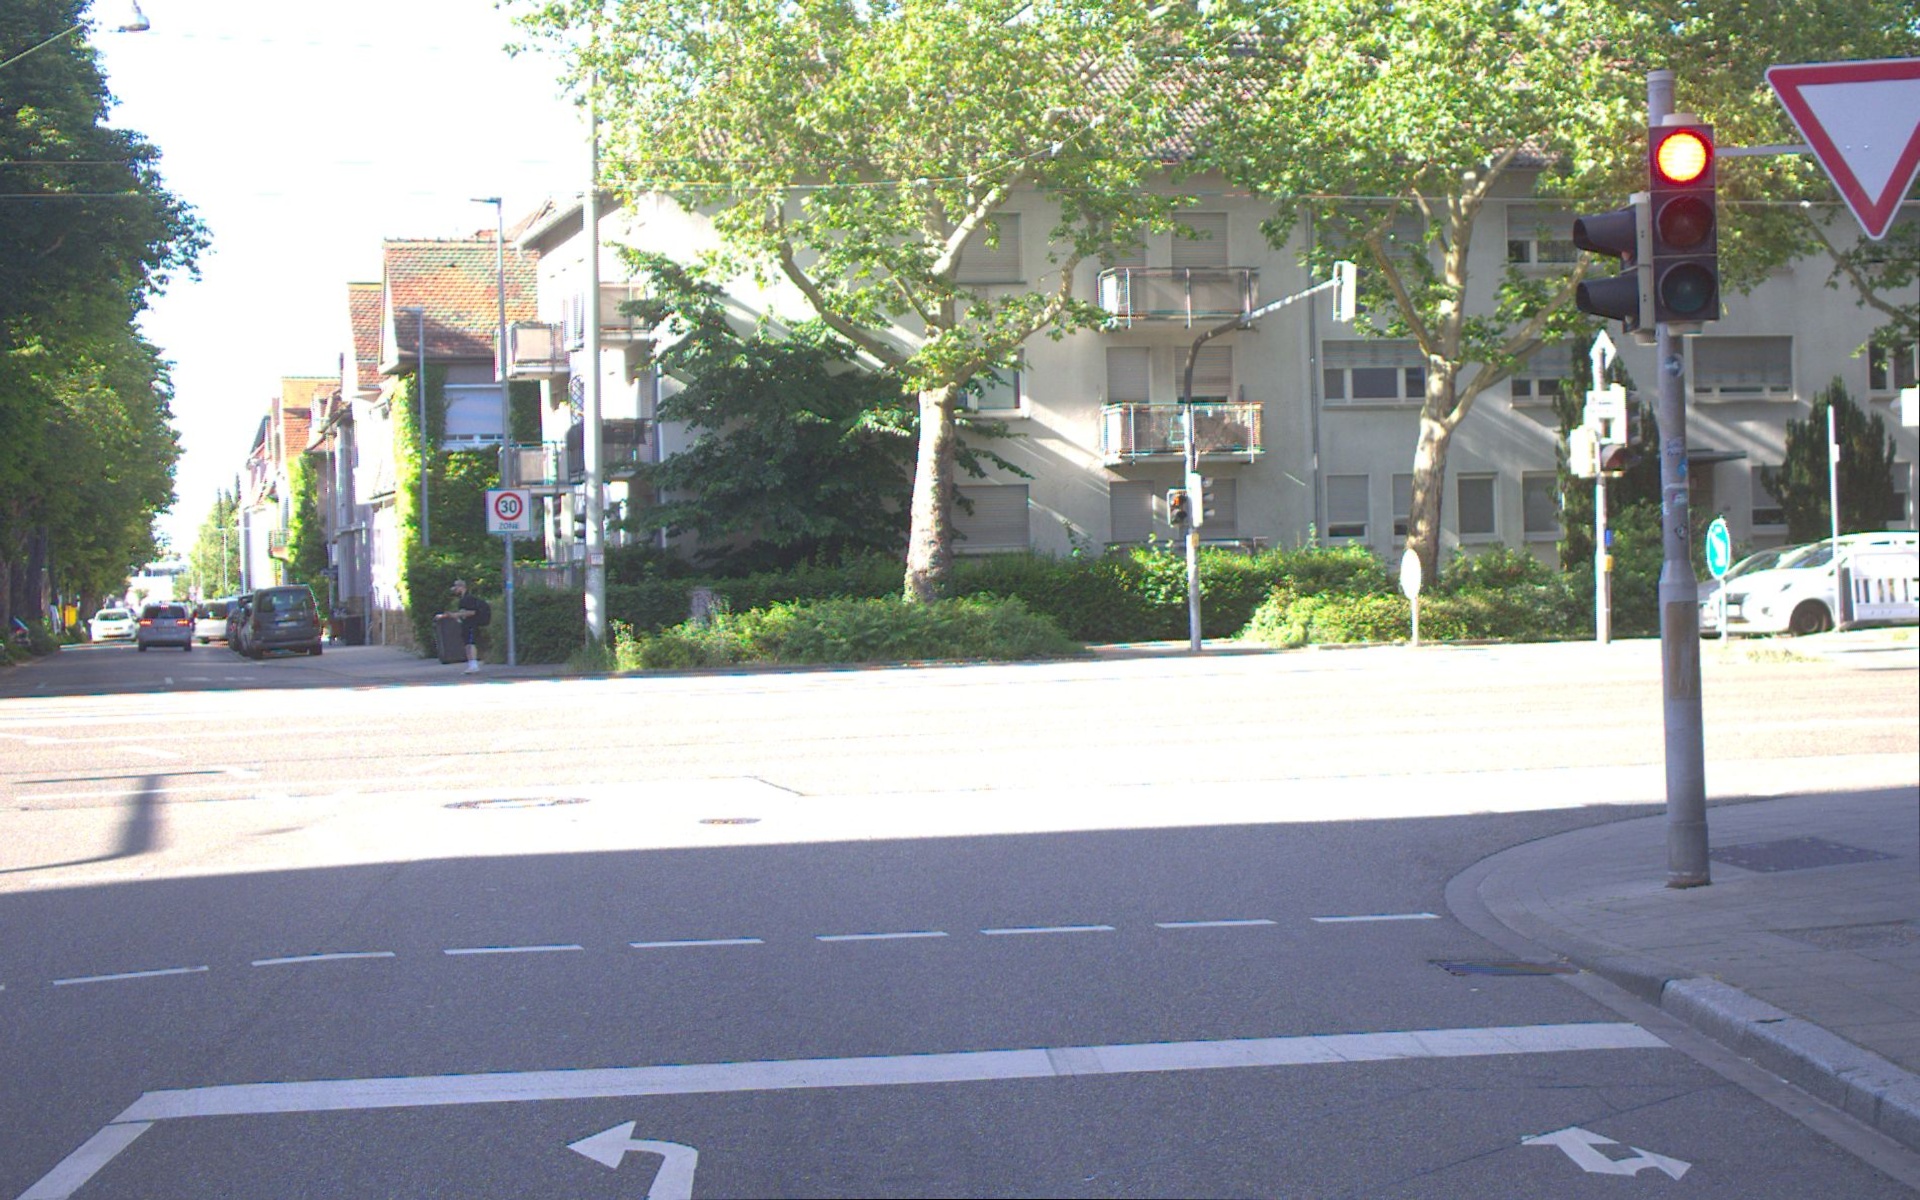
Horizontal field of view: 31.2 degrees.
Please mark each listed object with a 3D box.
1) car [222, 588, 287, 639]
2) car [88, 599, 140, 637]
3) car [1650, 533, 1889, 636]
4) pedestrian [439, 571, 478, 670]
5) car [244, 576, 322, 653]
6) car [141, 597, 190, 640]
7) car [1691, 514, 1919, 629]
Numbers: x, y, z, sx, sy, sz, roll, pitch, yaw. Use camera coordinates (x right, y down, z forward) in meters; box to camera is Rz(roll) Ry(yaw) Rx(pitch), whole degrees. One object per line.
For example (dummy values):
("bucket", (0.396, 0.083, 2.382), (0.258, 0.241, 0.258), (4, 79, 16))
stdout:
("car", (-25.937, 0.485, 126.318), (1.993, 1.826, 4.001), (-1, 0, -16))
("car", (-35.157, 0.734, 142.838), (1.993, 1.441, 4.001), (-2, 1, -15))
("car", (12.802, -0.257, 54.382), (3.379, 1.482, 1.525), (-2, 1, -22))
("pedestrian", (-8.941, 0.358, 61.345), (0.633, 1.744, 0.659), (-1, 0, -5))
("car", (-18.833, 0.374, 95.768), (1.993, 2.007, 4.001), (-2, 1, -10))
("car", (-28.271, 0.654, 122.287), (1.673, 1.477, 3.523), (-1, 0, -13))
("car", (12.229, -0.418, 47.695), (3.786, 1.467, 1.630), (-2, 1, -23))
